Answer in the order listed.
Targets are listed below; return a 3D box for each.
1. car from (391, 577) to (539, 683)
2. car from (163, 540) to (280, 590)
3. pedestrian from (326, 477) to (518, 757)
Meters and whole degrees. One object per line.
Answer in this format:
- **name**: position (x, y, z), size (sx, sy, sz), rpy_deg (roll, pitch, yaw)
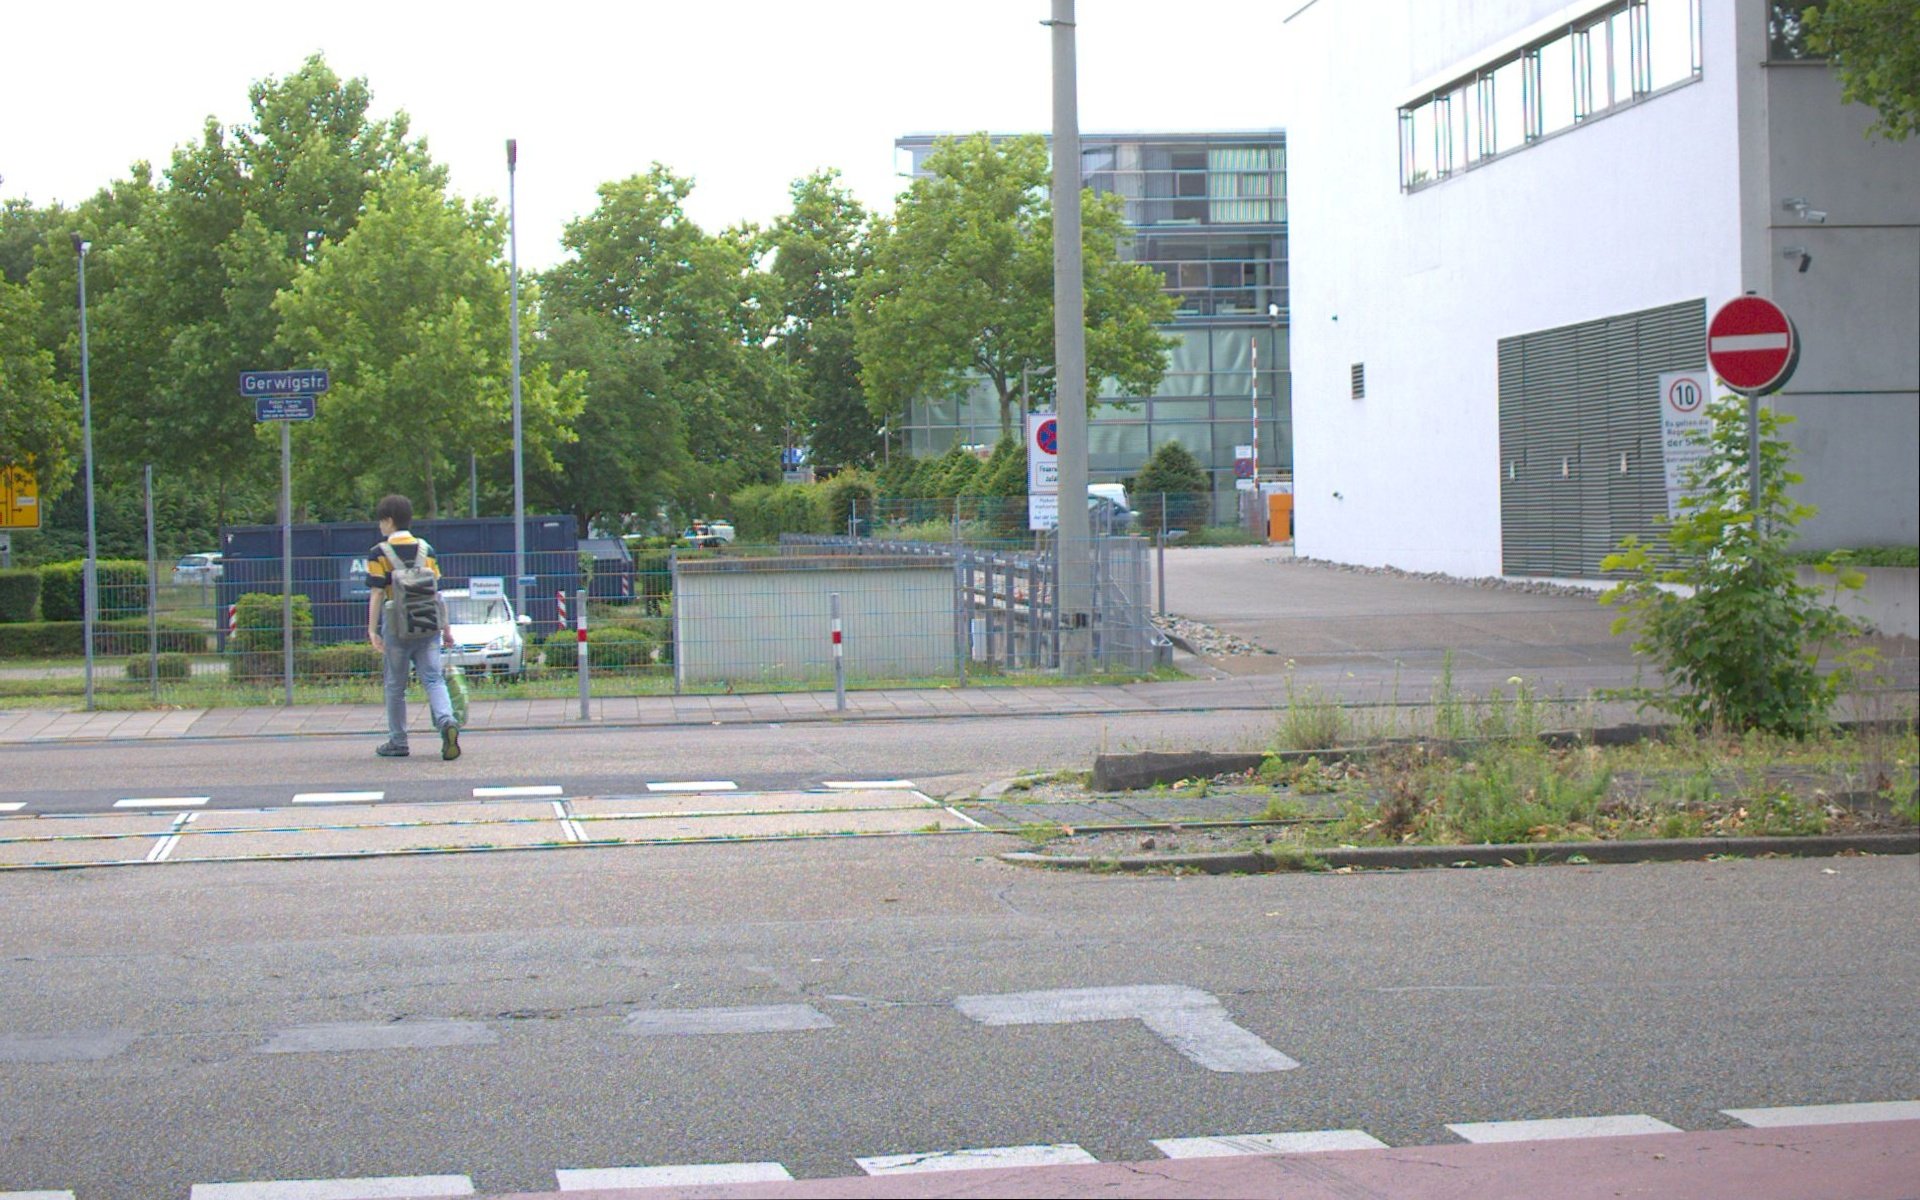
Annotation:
- **car**: position (-7.215, 0.406, 50.458), size (1.930, 1.398, 4.082), rpy_deg (-1, 1, -6)
- **car**: position (-26.889, -1.293, 125.282), size (1.917, 1.715, 4.294), rpy_deg (0, 1, 26)
- **pedestrian**: position (-3.687, 0.099, 23.490), size (1.000, 1.843, 1.230), rpy_deg (-1, 1, -22)
